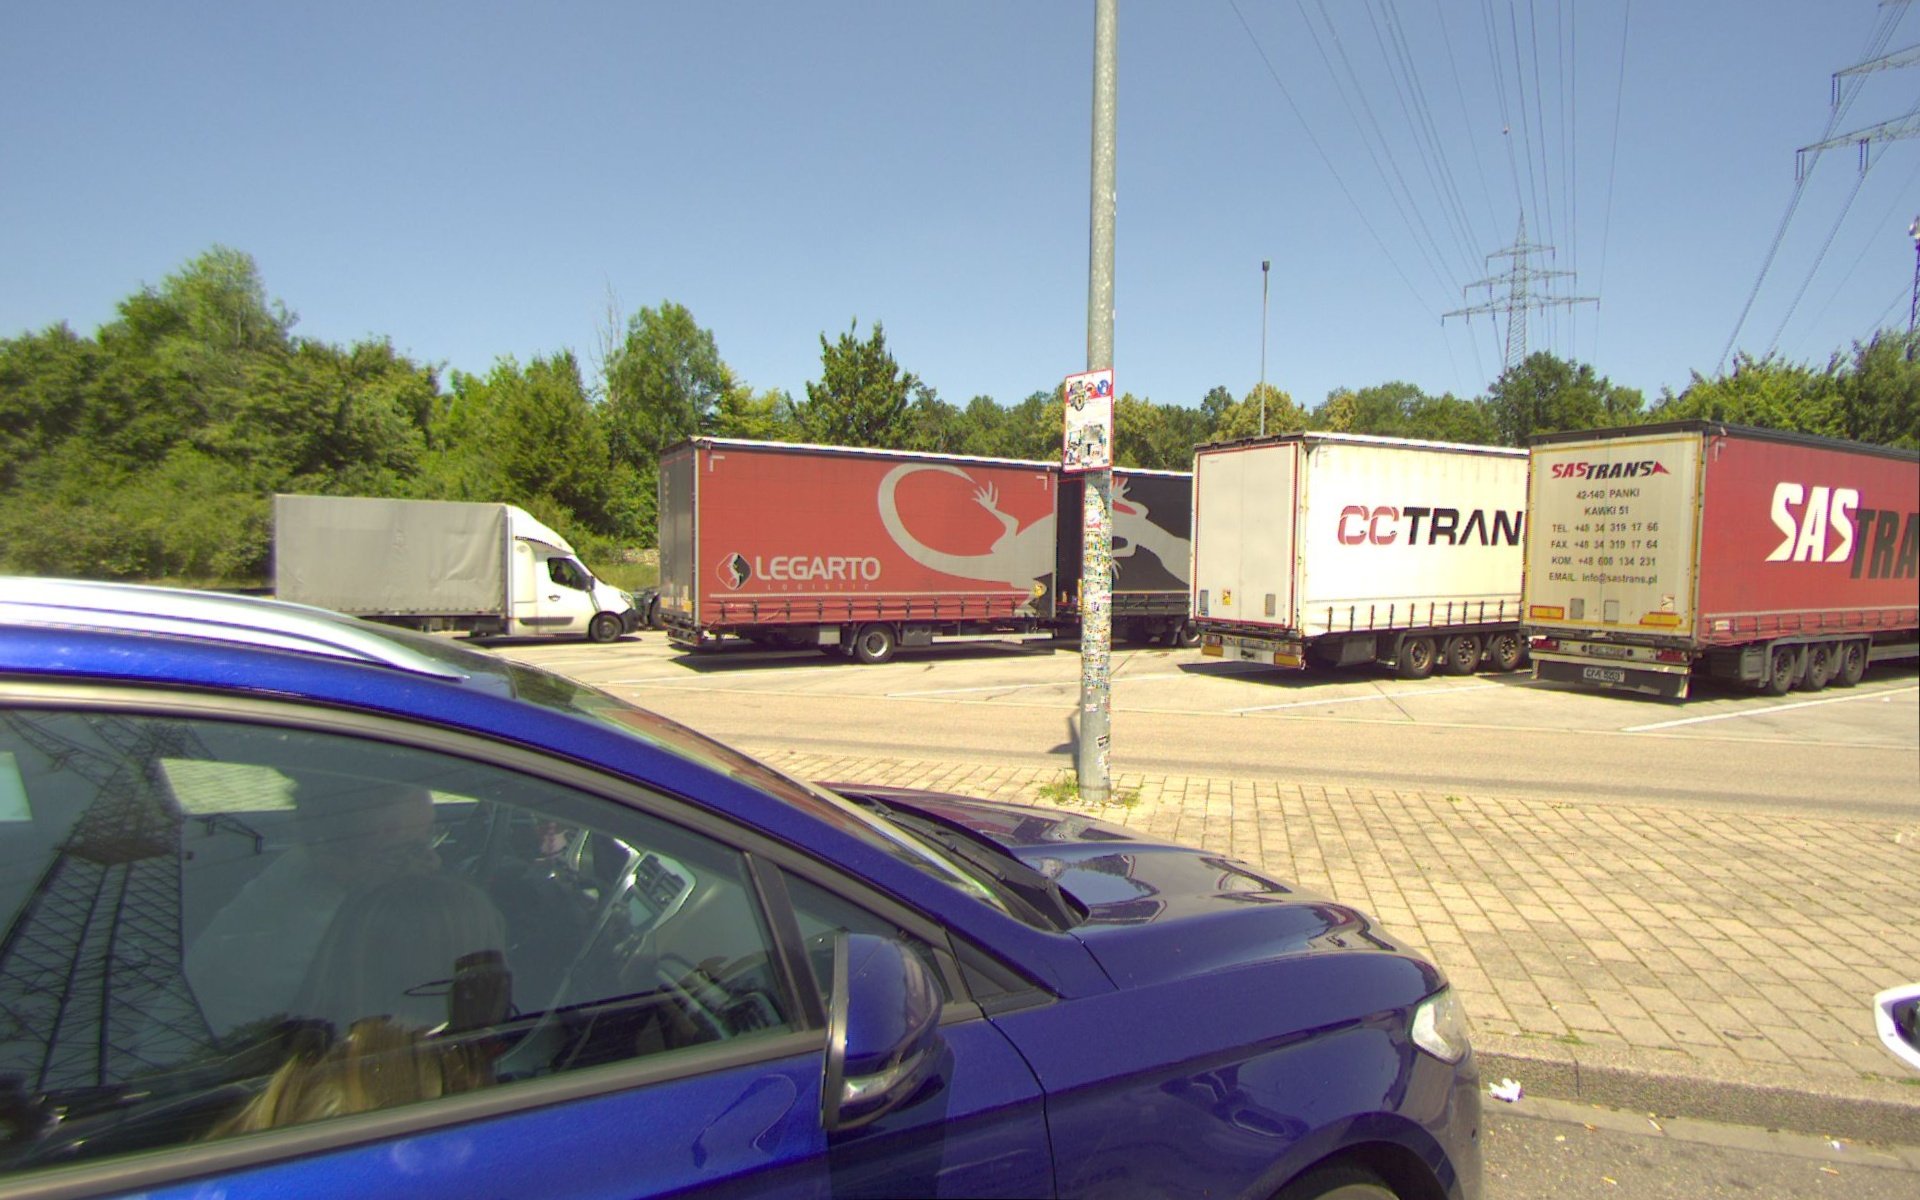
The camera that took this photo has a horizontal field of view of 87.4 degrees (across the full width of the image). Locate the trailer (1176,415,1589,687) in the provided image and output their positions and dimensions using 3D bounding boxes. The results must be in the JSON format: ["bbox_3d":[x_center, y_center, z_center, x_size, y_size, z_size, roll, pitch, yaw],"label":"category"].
[{"bbox_3d":[8.093,-0.761,18.823,8.189,4.208,2.741,0,1,-30],"label":"trailer"}]

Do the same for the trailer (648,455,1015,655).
[{"bbox_3d":[-2.865,-0.894,23.635,8.189,4.053,2.720,0,0,-30],"label":"trailer"}]

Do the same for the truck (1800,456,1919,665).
[{"bbox_3d":[21.460,-0.776,22.079,5.824,4.189,2.792,0,0,-30],"label":"truck"}]

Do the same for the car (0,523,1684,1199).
[{"bbox_3d":[-0.989,0.662,1.484,4.362,1.437,1.731,1,0,-30],"label":"car"}]

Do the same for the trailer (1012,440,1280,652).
[{"bbox_3d":[4.507,-1.141,24.061,6.076,4.504,2.665,0,0,-30],"label":"trailer"}]

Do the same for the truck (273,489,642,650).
[{"bbox_3d":[-11.126,-0.593,22.780,7.171,3.194,2.160,0,1,-30],"label":"truck"}]

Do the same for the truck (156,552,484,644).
[{"bbox_3d":[-15.360,-0.033,24.617,6.538,2.040,1.984,0,0,-31],"label":"truck"}]

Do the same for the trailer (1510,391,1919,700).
[{"bbox_3d":[15.278,-0.731,18.443,13.046,4.276,2.786,0,0,-31],"label":"trailer"}]

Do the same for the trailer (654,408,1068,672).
[{"bbox_3d":[-1.826,-1.005,20.314,7.963,4.510,2.648,0,0,-31],"label":"trailer"}]
